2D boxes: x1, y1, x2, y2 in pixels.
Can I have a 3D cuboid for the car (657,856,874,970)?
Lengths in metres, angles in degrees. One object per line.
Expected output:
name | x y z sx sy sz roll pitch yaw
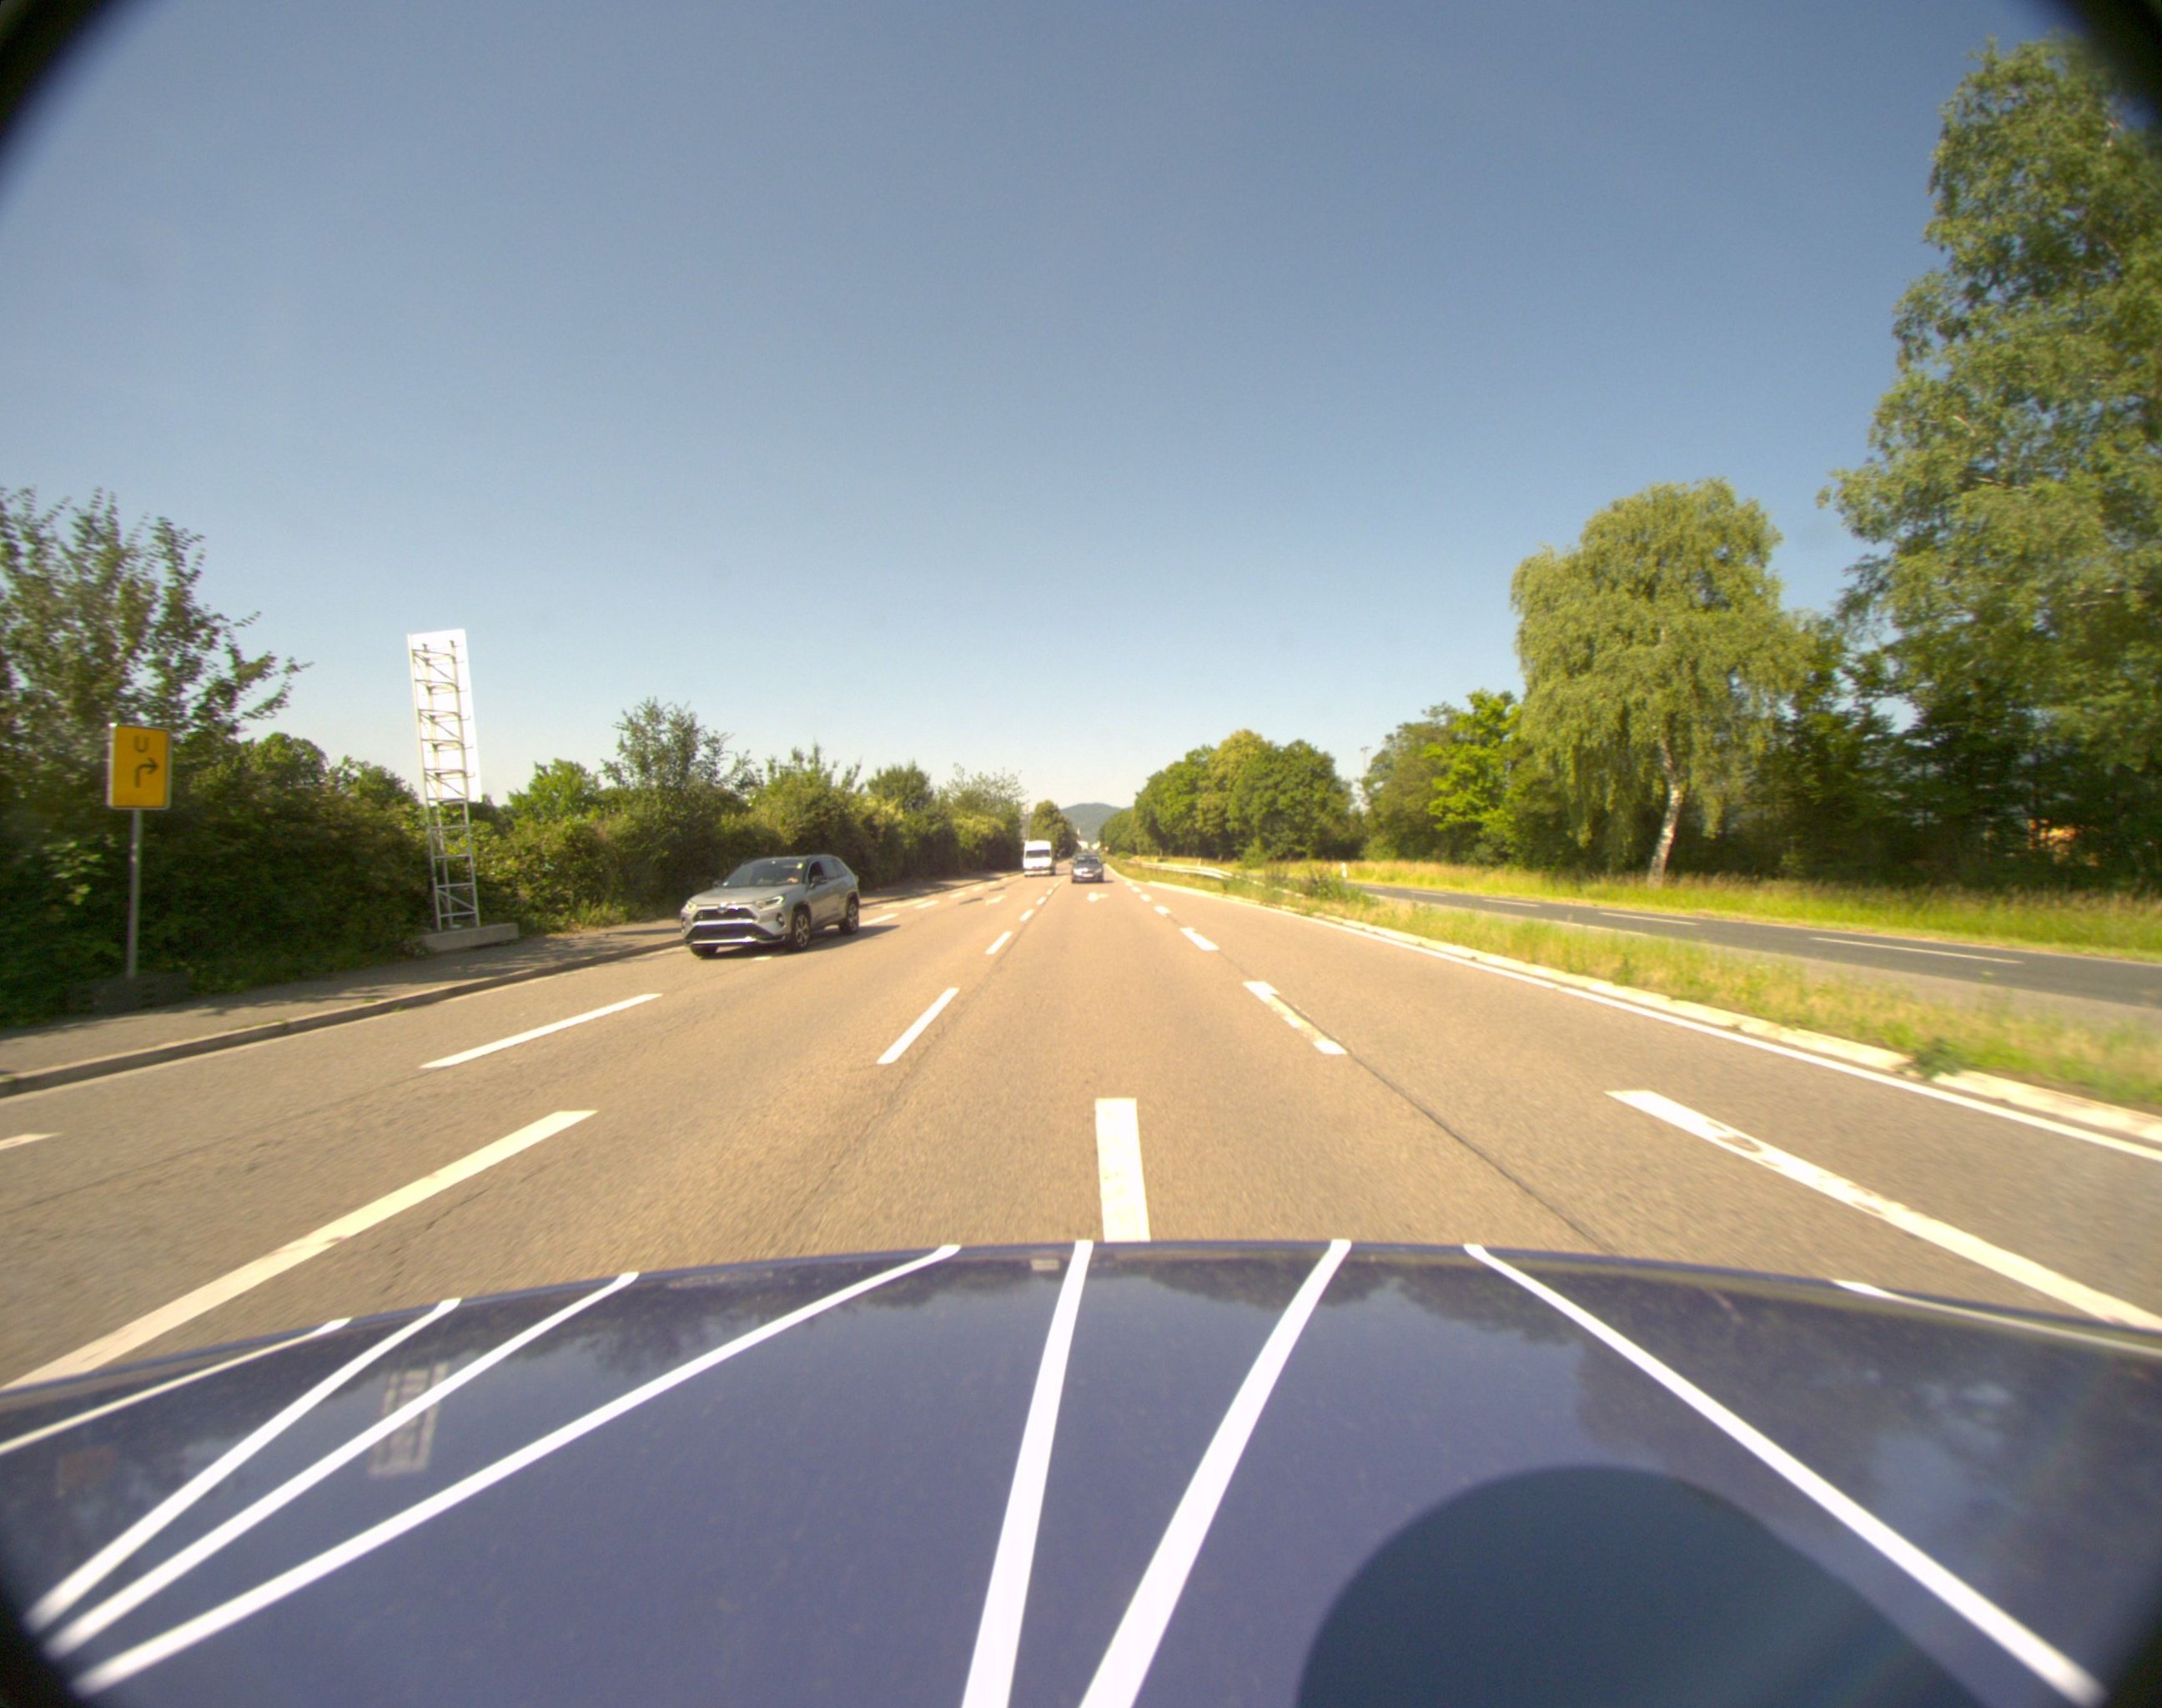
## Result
car | -5.581 0.925 14.238 1.906 1.670 4.683 -2 0 2

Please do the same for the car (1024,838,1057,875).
car | -2.784 0.130 53.259 1.998 2.433 5.088 -1 1 0

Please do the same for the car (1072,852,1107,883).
car | 0.451 0.656 39.419 1.678 1.435 4.360 -1 1 1

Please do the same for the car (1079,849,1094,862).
car | 0.604 0.121 88.632 1.678 1.435 3.621 -1 1 1
